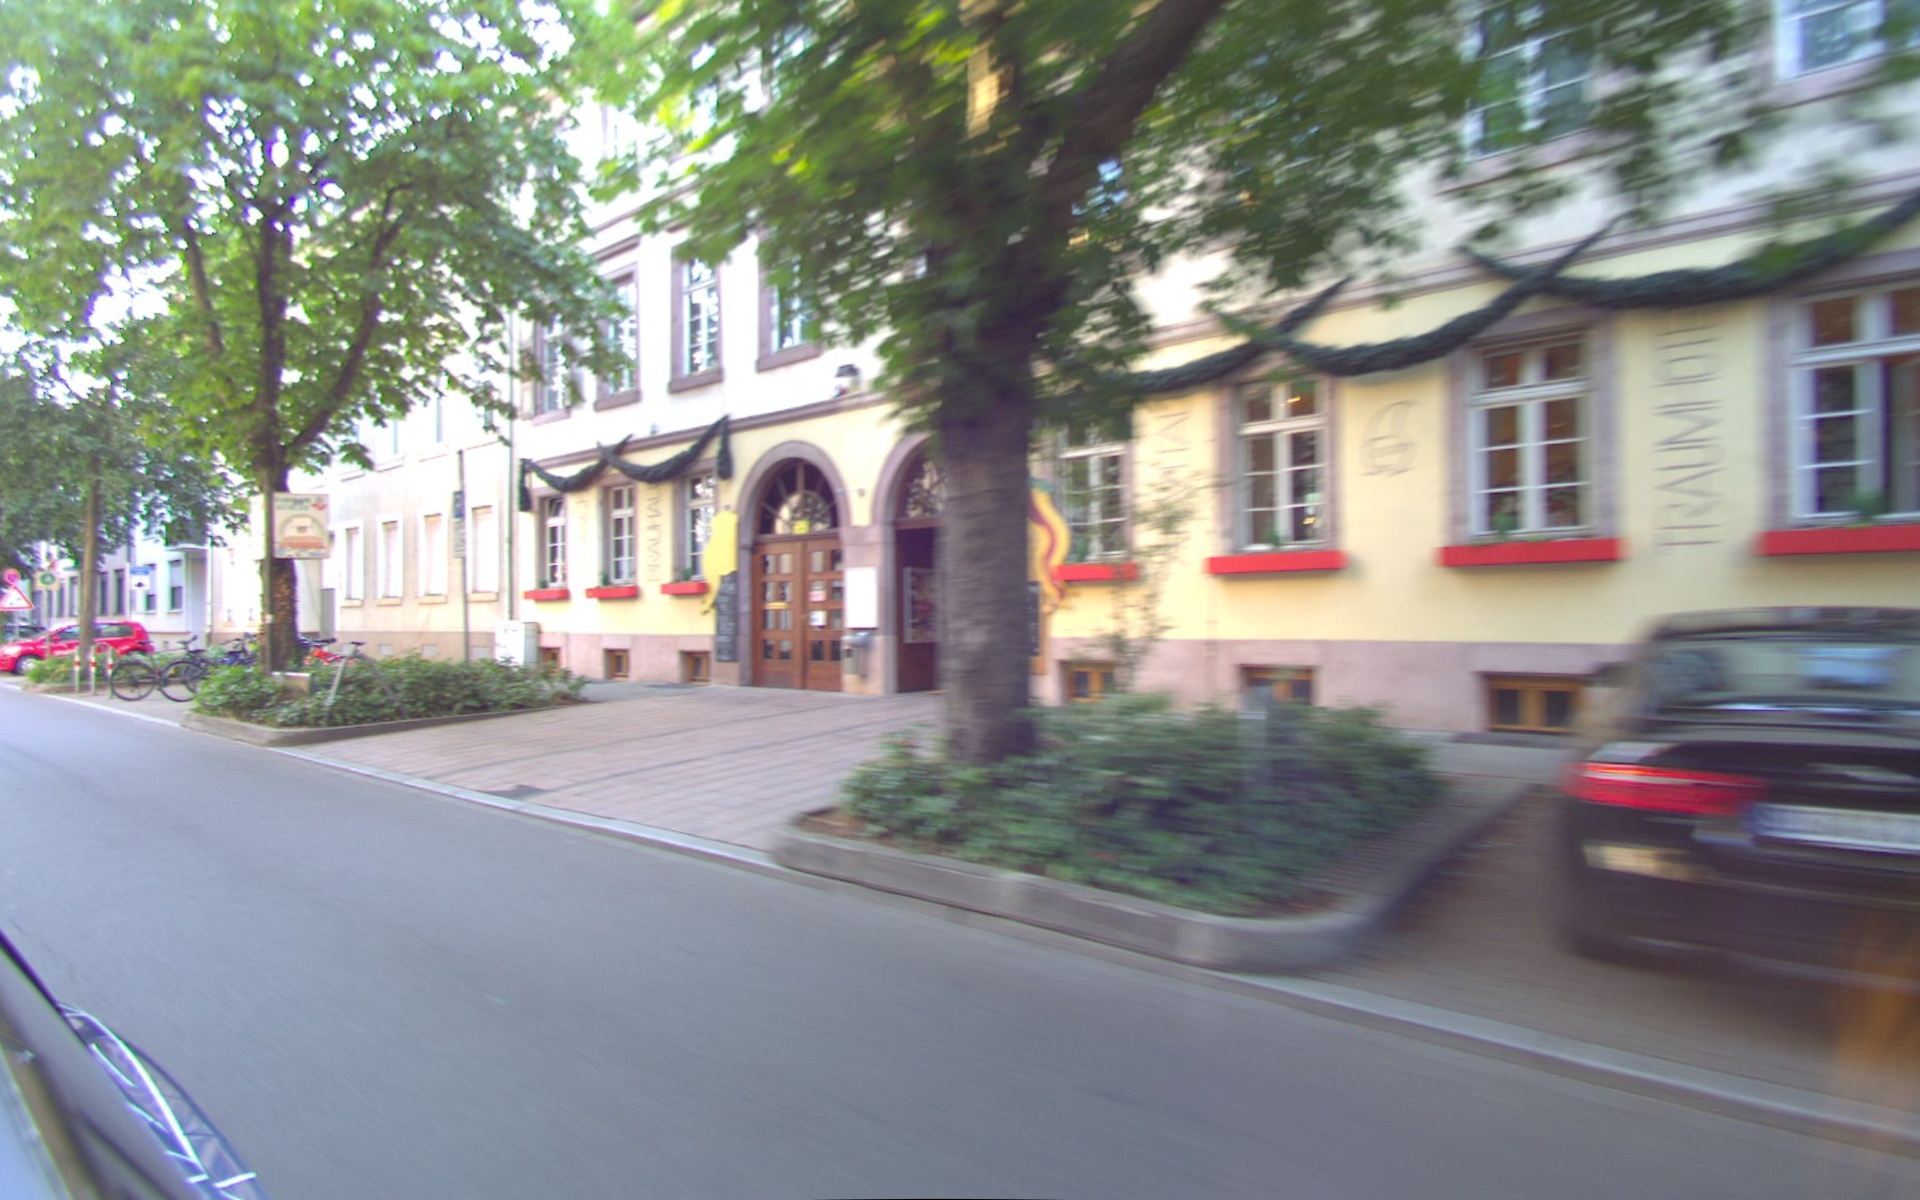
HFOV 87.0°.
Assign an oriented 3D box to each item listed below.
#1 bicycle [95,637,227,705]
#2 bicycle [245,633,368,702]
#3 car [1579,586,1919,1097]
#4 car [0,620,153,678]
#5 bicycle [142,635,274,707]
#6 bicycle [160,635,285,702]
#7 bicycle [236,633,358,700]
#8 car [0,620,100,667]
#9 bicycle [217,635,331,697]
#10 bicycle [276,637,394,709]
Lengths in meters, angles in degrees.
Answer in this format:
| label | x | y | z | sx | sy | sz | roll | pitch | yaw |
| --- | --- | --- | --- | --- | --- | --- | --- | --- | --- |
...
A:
| label | x | y | z | sx | sy | sz | roll | pitch | yaw |
| --- | --- | --- | --- | --- | --- | --- | --- | --- | --- |
| bicycle | -14.793 | 1.296 | 18.787 | 0.479 | 1.106 | 1.849 | -1 | 0 | 33 |
| bicycle | -11.912 | 1.205 | 18.510 | 0.479 | 1.107 | 1.849 | -1 | 0 | 33 |
| car | 4.025 | 0.667 | 4.652 | 1.715 | 1.417 | 4.386 | 0 | 1 | 35 |
| car | -25.654 | 1.374 | 29.129 | 1.670 | 1.416 | 3.457 | -2 | 1 | 37 |
| bicycle | -13.608 | 1.264 | 18.368 | 0.479 | 1.153 | 1.849 | -1 | 0 | 33 |
| bicycle | -13.827 | 1.265 | 19.029 | 0.479 | 1.107 | 1.849 | -1 | 0 | 33 |
| bicycle | -12.411 | 1.223 | 18.997 | 0.508 | 1.107 | 1.849 | -1 | 0 | 33 |
| car | -32.109 | 1.497 | 34.840 | 1.588 | 1.430 | 3.511 | -2 | 1 | 37 |
| bicycle | -13.799 | 1.311 | 20.407 | 0.479 | 1.107 | 1.849 | -1 | 0 | 33 |
| bicycle | -10.814 | 1.242 | 17.560 | 0.479 | 1.107 | 1.693 | -1 | 0 | 33 |
